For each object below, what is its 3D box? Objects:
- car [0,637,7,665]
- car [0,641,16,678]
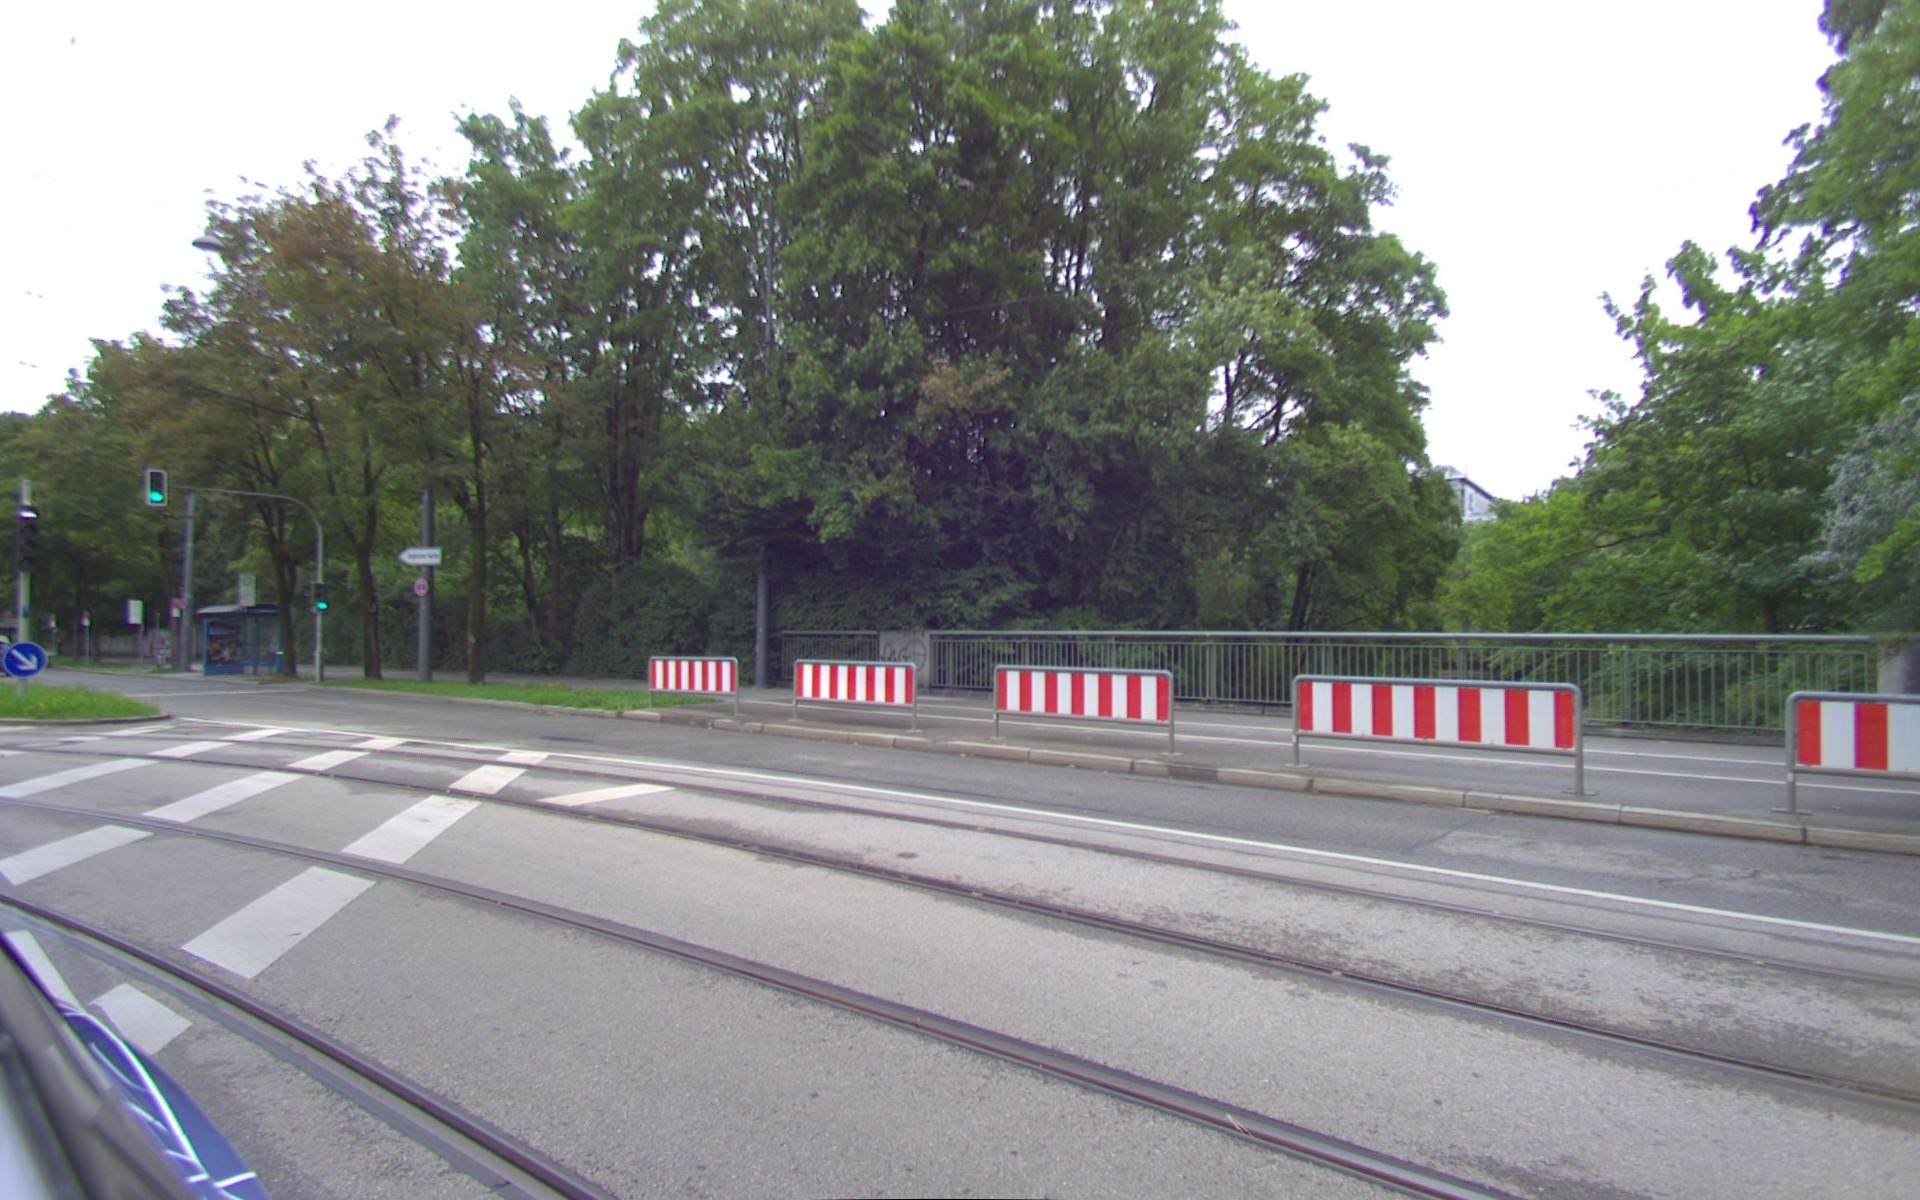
[{"bbox_3d":[-63.218,3.323,65.400,3.996,1.739,1.864,-1,0,39],"label":"car"},{"bbox_3d":[-38.652,2.290,39.645,4.832,1.399,1.608,-2,-5,38],"label":"car"}]
